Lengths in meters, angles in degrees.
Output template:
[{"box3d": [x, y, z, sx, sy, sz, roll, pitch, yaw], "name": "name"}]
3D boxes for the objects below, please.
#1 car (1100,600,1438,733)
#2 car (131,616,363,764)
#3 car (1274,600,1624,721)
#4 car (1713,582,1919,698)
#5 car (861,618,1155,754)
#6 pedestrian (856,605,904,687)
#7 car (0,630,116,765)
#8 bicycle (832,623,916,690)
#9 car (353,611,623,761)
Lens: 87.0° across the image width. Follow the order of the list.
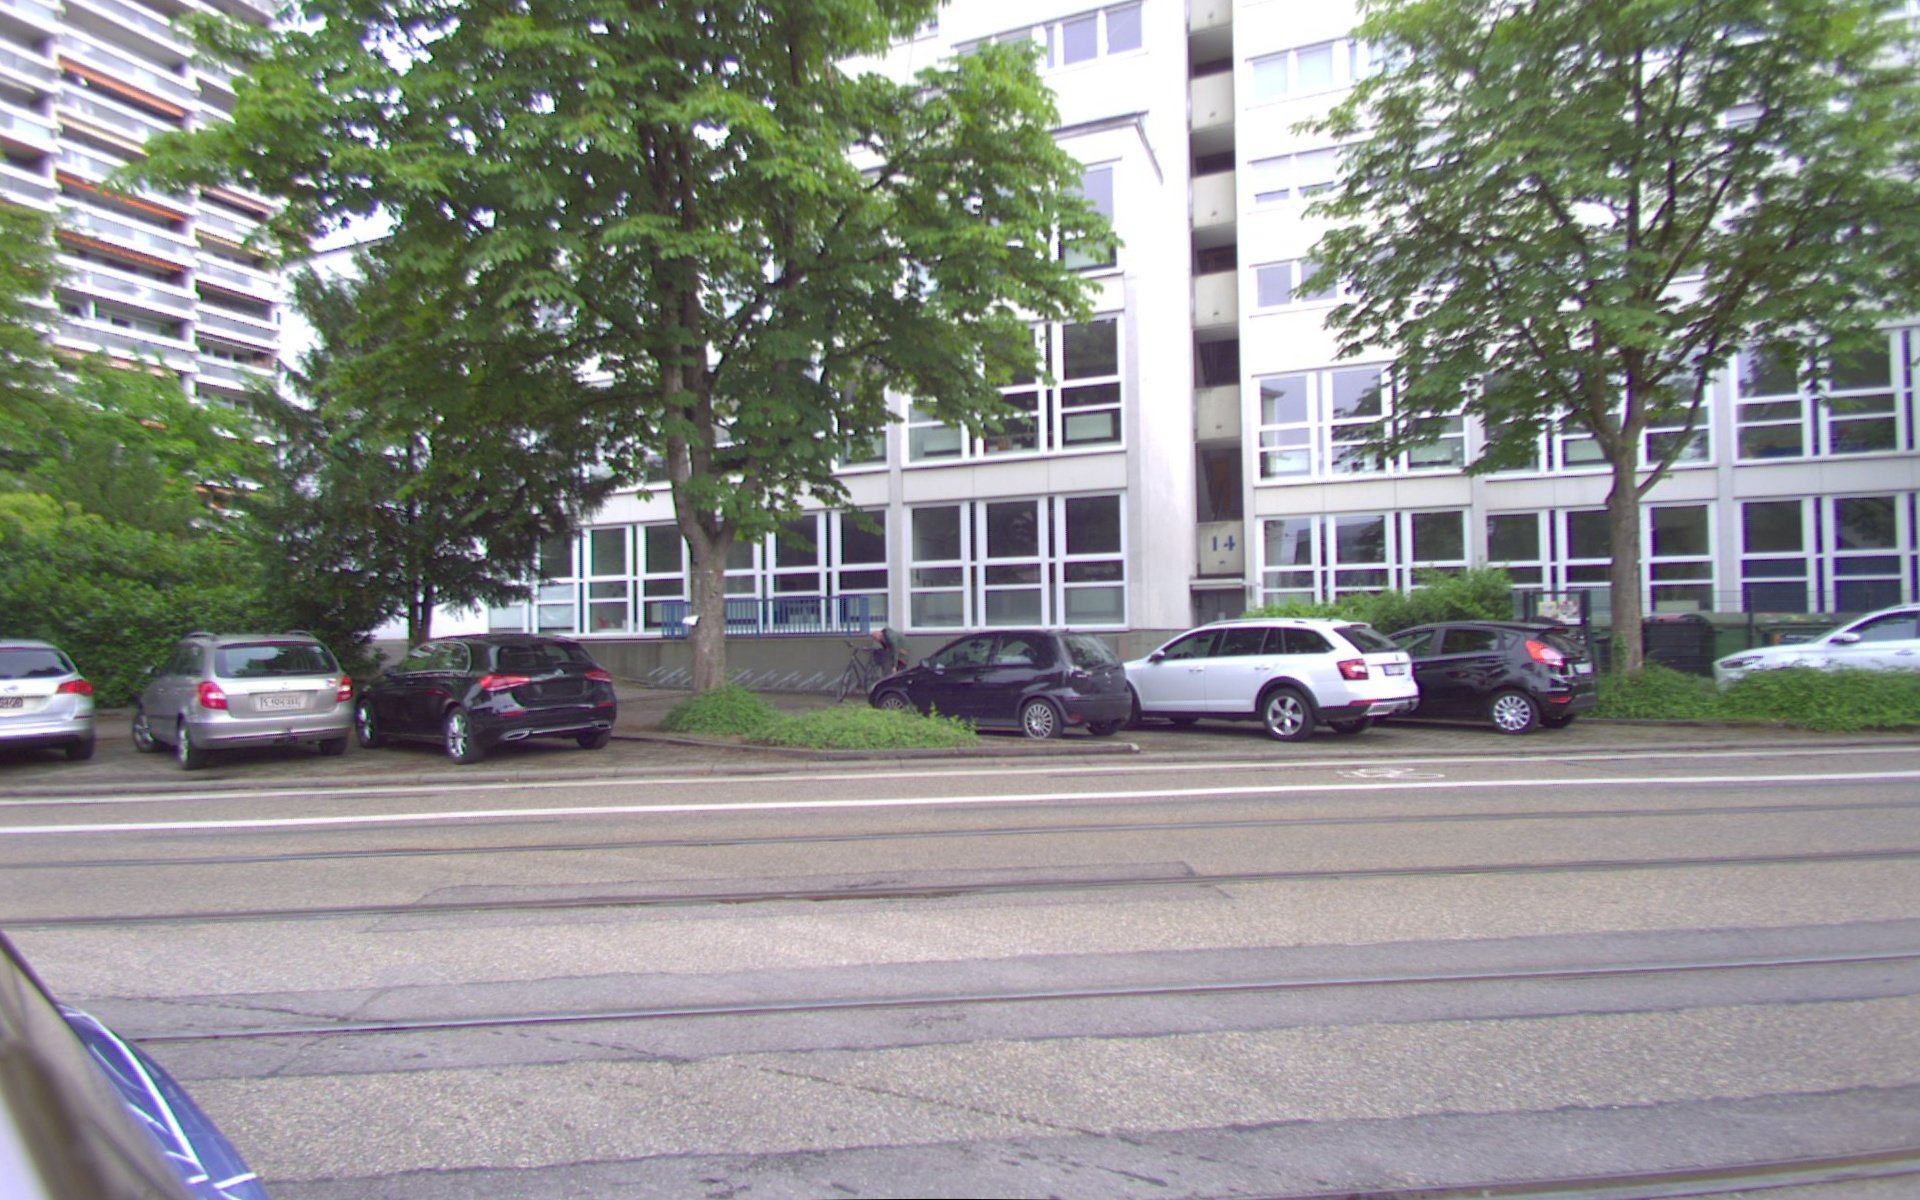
[{"box3d": [3.985, 0.793, 13.572, 1.674, 1.495, 4.034, -1, -1, -42], "name": "car"}, {"box3d": [-8.853, 0.993, 12.458, 3.650, 1.535, 1.551, -2, -1, 42], "name": "car"}, {"box3d": [6.626, 0.755, 14.062, 1.674, 1.416, 4.034, -1, -1, -42], "name": "car"}, {"box3d": [13.457, 0.543, 14.422, 4.339, 1.568, 1.679, -2, -1, 37], "name": "car"}, {"box3d": [0.551, 1.045, 13.552, 3.704, 1.535, 1.676, -2, -1, 42], "name": "car"}, {"box3d": [-1.623, 0.921, 20.589, 0.749, 1.623, 0.730, 0, 0, 17], "name": "pedestrian"}, {"box3d": [-12.231, 1.125, 12.620, 4.427, 1.476, 1.780, -2, -2, 39], "name": "car"}, {"box3d": [-1.687, 1.109, 19.938, 1.575, 1.278, 0.405, -2, -2, 5], "name": "bicycle"}, {"box3d": [-5.882, 0.942, 12.437, 3.704, 1.535, 1.676, -2, -1, 42], "name": "car"}]
